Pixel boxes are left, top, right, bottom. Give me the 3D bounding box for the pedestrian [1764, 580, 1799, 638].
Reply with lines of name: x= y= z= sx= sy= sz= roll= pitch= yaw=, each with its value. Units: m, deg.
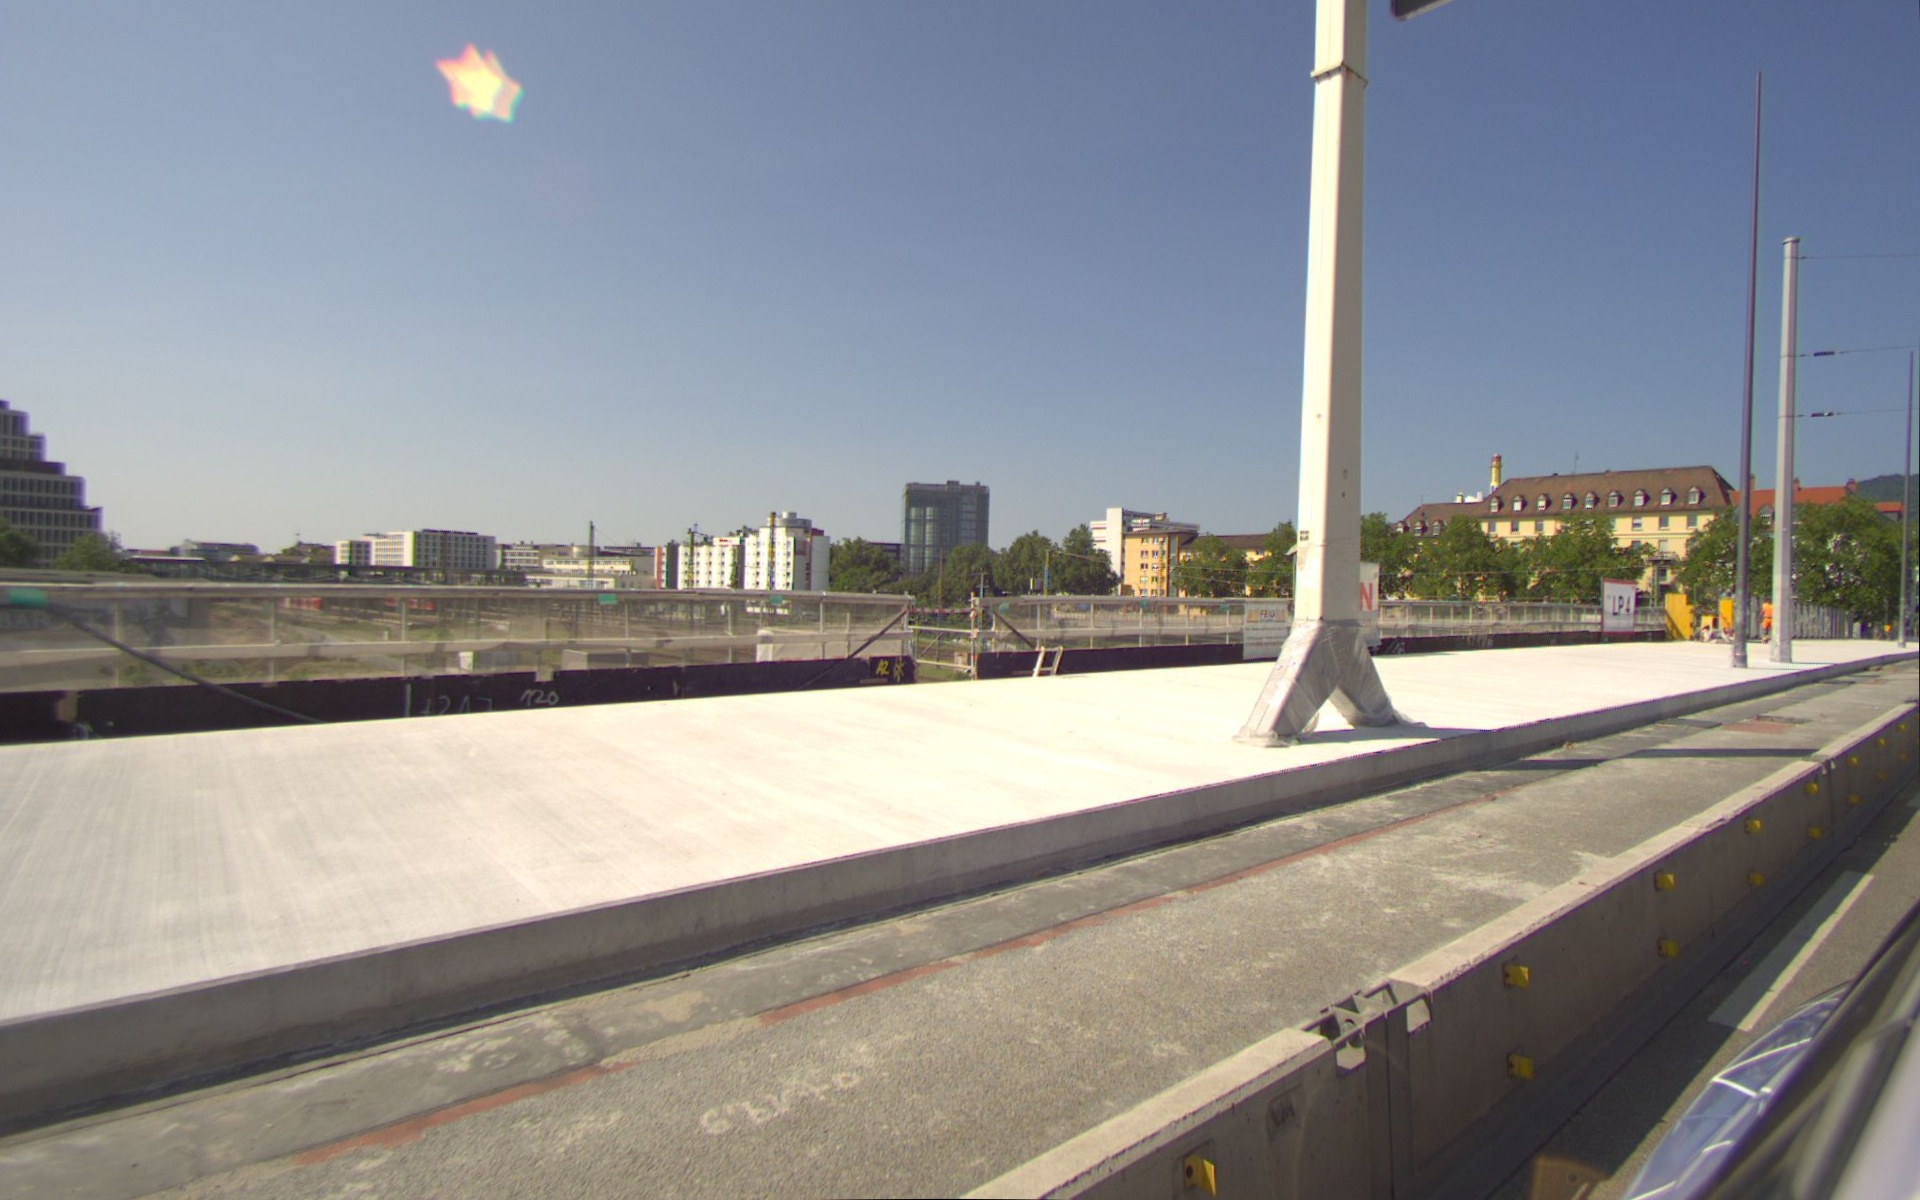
pedestrian: x=29.030 y=0.324 z=35.765 sx=0.999 sy=1.989 sz=0.732 roll=1 pitch=1 yaw=-42
